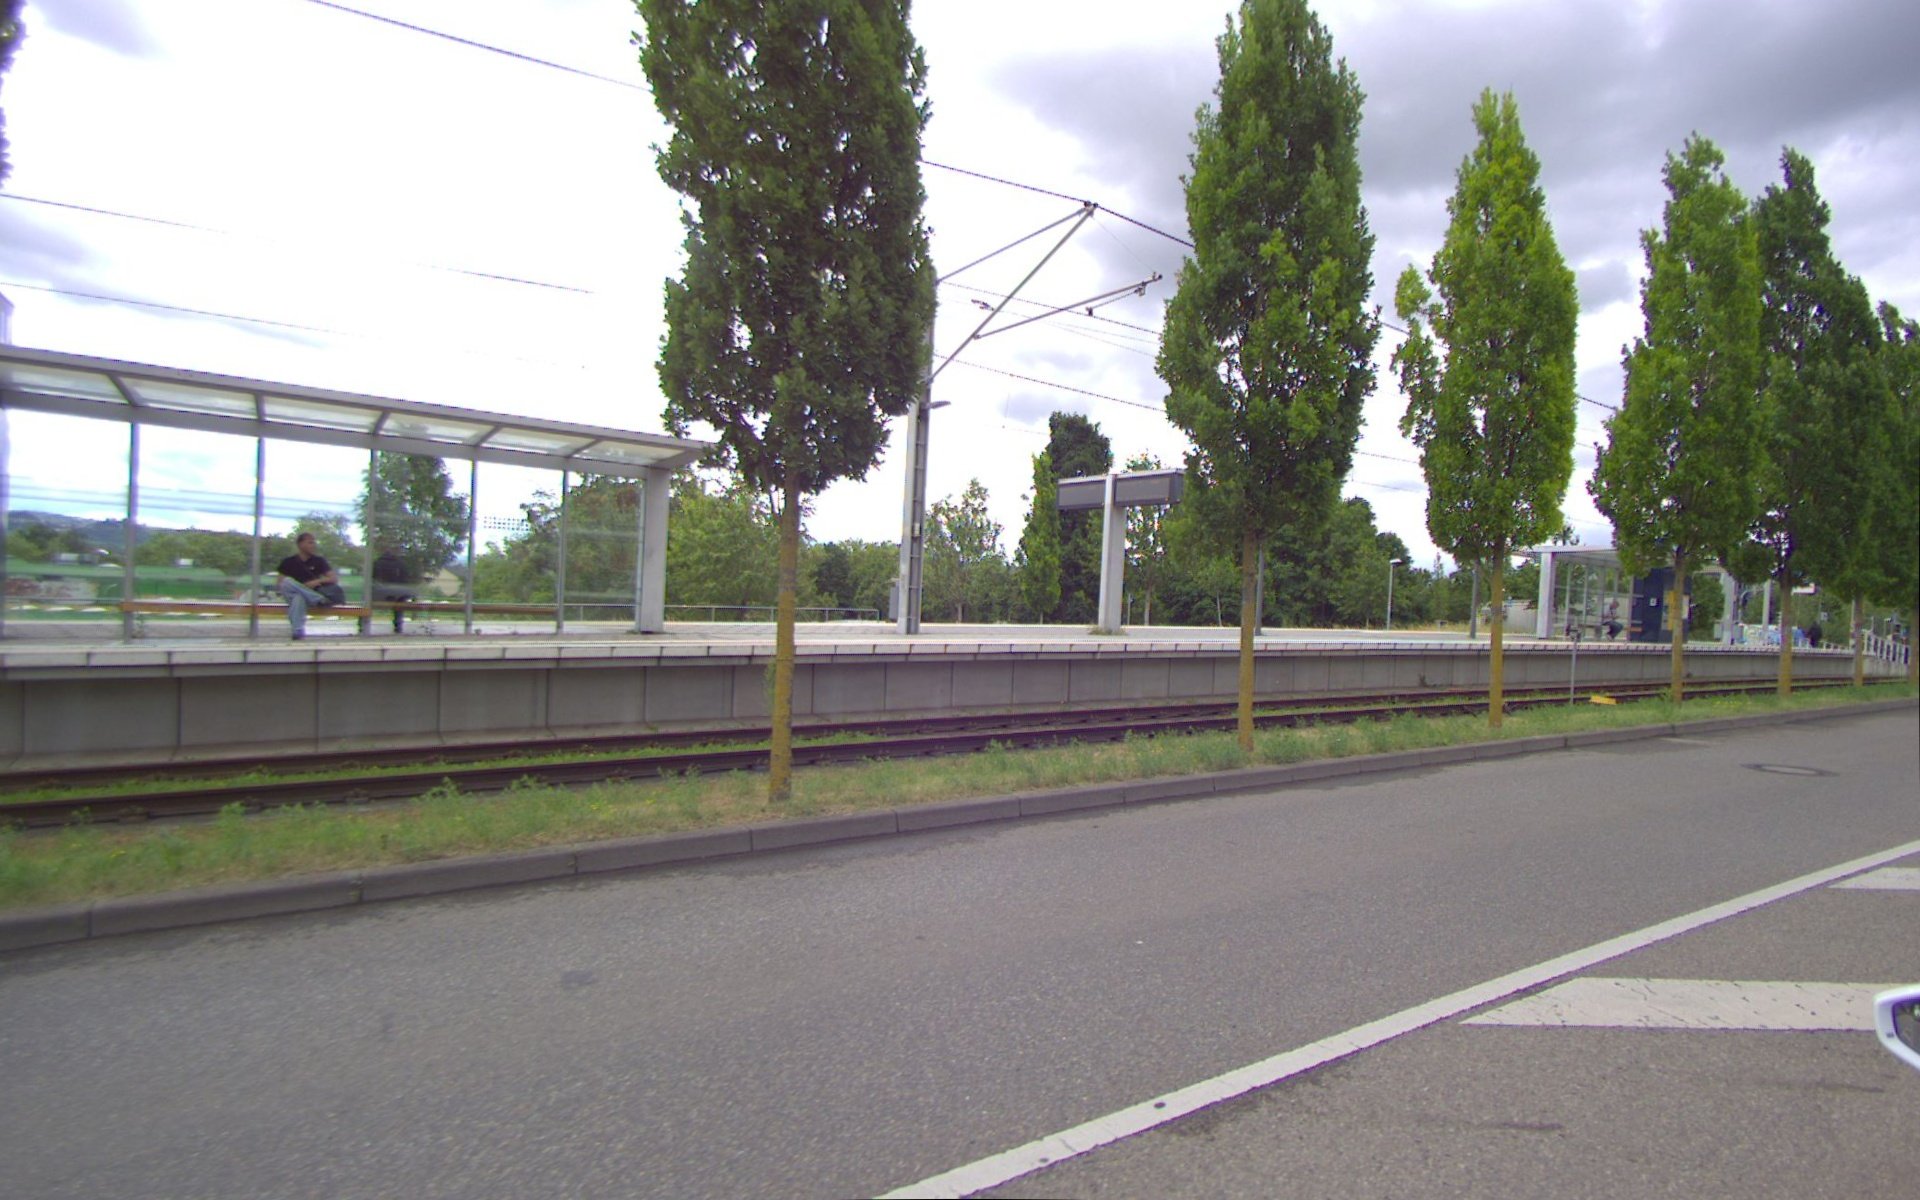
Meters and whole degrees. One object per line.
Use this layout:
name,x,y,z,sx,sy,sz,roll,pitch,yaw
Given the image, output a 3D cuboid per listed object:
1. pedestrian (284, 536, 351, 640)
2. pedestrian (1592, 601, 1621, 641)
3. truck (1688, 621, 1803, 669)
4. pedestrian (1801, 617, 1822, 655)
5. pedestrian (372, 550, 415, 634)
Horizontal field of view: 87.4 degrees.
pedestrian,-7.850,-0.136,12.292,0.658,1.215,0.757,1,0,-33
pedestrian,21.282,0.689,33.064,0.654,1.286,0.605,-1,1,-37
truck,66.277,3.710,84.967,2.658,3.647,7.210,0,0,-28
pedestrian,42.784,1.801,50.468,0.786,1.852,0.568,3,-1,-36
pedestrian,-7.570,-0.109,13.412,0.465,1.093,0.603,0,1,-33
